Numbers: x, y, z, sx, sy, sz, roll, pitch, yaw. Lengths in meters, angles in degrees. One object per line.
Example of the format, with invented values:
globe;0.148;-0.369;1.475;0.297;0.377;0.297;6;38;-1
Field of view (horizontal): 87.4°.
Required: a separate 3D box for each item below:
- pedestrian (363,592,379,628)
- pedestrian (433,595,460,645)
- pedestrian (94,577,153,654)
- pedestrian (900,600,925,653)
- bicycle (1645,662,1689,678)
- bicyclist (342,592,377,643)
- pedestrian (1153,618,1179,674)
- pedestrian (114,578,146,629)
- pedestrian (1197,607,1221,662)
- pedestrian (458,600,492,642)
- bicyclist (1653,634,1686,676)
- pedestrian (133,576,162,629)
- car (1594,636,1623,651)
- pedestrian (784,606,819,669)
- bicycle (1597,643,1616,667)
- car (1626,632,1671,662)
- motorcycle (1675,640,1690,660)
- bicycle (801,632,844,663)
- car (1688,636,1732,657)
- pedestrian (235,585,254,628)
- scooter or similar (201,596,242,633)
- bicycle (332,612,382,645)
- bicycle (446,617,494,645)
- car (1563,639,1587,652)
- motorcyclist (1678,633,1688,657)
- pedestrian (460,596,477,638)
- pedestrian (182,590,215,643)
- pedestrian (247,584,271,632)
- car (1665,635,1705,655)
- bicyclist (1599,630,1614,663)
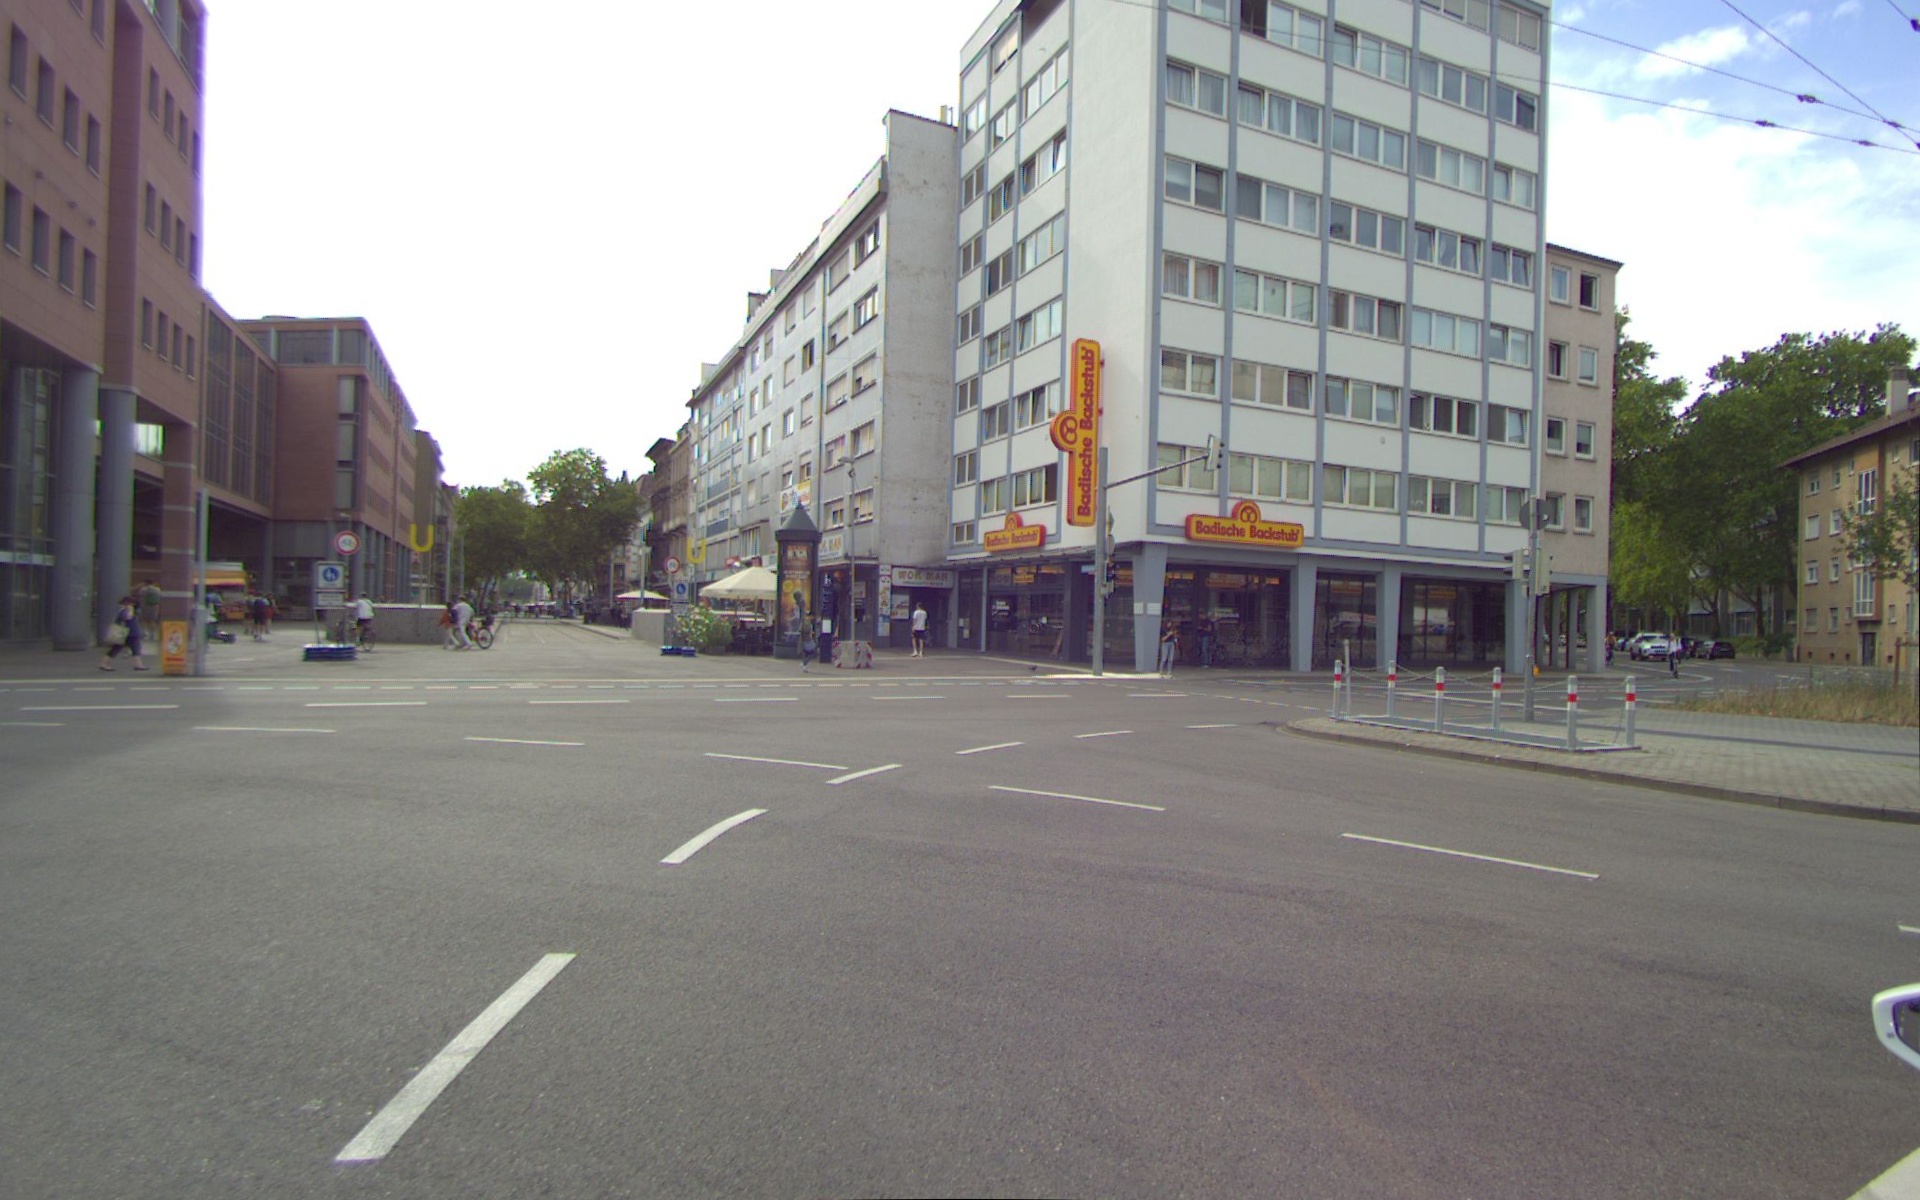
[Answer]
pedestrian;-28.238;0.476;48.137;0.573;1.685;0.518;2;0;-24
pedestrian;-17.205;0.660;33.649;0.458;1.663;0.632;1;0;27
pedestrian;-16.709;0.315;20.089;0.675;1.492;0.794;2;0;-24
pedestrian;-1.721;0.957;36.098;0.573;1.883;0.859;2;0;-25
bicycle;28.610;2.828;40.648;1.969;0.596;0.482;2;-1;-22
bicyclist;-19.160;0.562;32.036;0.867;1.590;0.546;1;0;26
pedestrian;5.878;1.310;28.648;0.512;1.580;0.496;2;0;-31
pedestrian;-29.461;0.141;35.671;0.489;1.785;0.685;1;0;18
pedestrian;8.223;1.148;33.137;0.581;1.789;0.474;1;0;-25
pedestrian;-16.695;0.718;34.569;0.848;1.393;0.632;1;0;24
bicyclist;28.639;2.221;40.558;1.022;1.668;0.607;2;0;-22
pedestrian;-26.320;0.087;32.545;0.512;1.685;0.579;1;0;32
car;68.976;4.595;106.924;1.603;1.489;4.318;2;-1;20
pedestrian;-4.214;0.989;26.726;0.647;1.615;0.688;1;0;23
bicycle;35.058;2.950;54.454;0.503;1.241;1.564;1;-1;20
car;41.961;2.847;61.283;1.805;1.682;4.317;1;-1;29
motorcycle;51.131;3.496;71.091;0.366;1.367;1.731;1;-1;20
bicycle;-4.936;1.691;36.053;1.762;1.002;0.471;1;-1;42
car;58.273;3.602;78.109;1.630;1.441;3.866;1;0;20
pedestrian;-28.562;0.268;40.102;0.457;1.685;0.518;2;0;-24
scooter or similar;-24.393;0.476;33.182;1.268;1.184;0.383;2;0;18
bicycle;-19.274;0.899;32.117;1.755;1.002;0.473;1;0;26
bicycle;-16.893;1.063;34.622;1.755;0.900;0.473;1;0;26
car;76.103;5.606;124.325;1.648;1.412;4.461;2;-1;20
motorcyclist;51.151;3.160;71.084;0.439;1.669;0.519;2;0;21
pedestrian;-18.807;0.642;38.445;0.513;1.598;0.504;1;0;-22
pedestrian;-21.767;0.477;28.732;0.573;1.492;0.652;2;0;-24
pedestrian;-24.993;0.290;35.816;0.573;1.685;0.518;2;0;-24
car;59.665;3.673;82.690;1.630;1.441;3.946;1;0;20
bicyclist;35.117;2.516;54.573;0.529;1.766;0.758;1;-1;20
